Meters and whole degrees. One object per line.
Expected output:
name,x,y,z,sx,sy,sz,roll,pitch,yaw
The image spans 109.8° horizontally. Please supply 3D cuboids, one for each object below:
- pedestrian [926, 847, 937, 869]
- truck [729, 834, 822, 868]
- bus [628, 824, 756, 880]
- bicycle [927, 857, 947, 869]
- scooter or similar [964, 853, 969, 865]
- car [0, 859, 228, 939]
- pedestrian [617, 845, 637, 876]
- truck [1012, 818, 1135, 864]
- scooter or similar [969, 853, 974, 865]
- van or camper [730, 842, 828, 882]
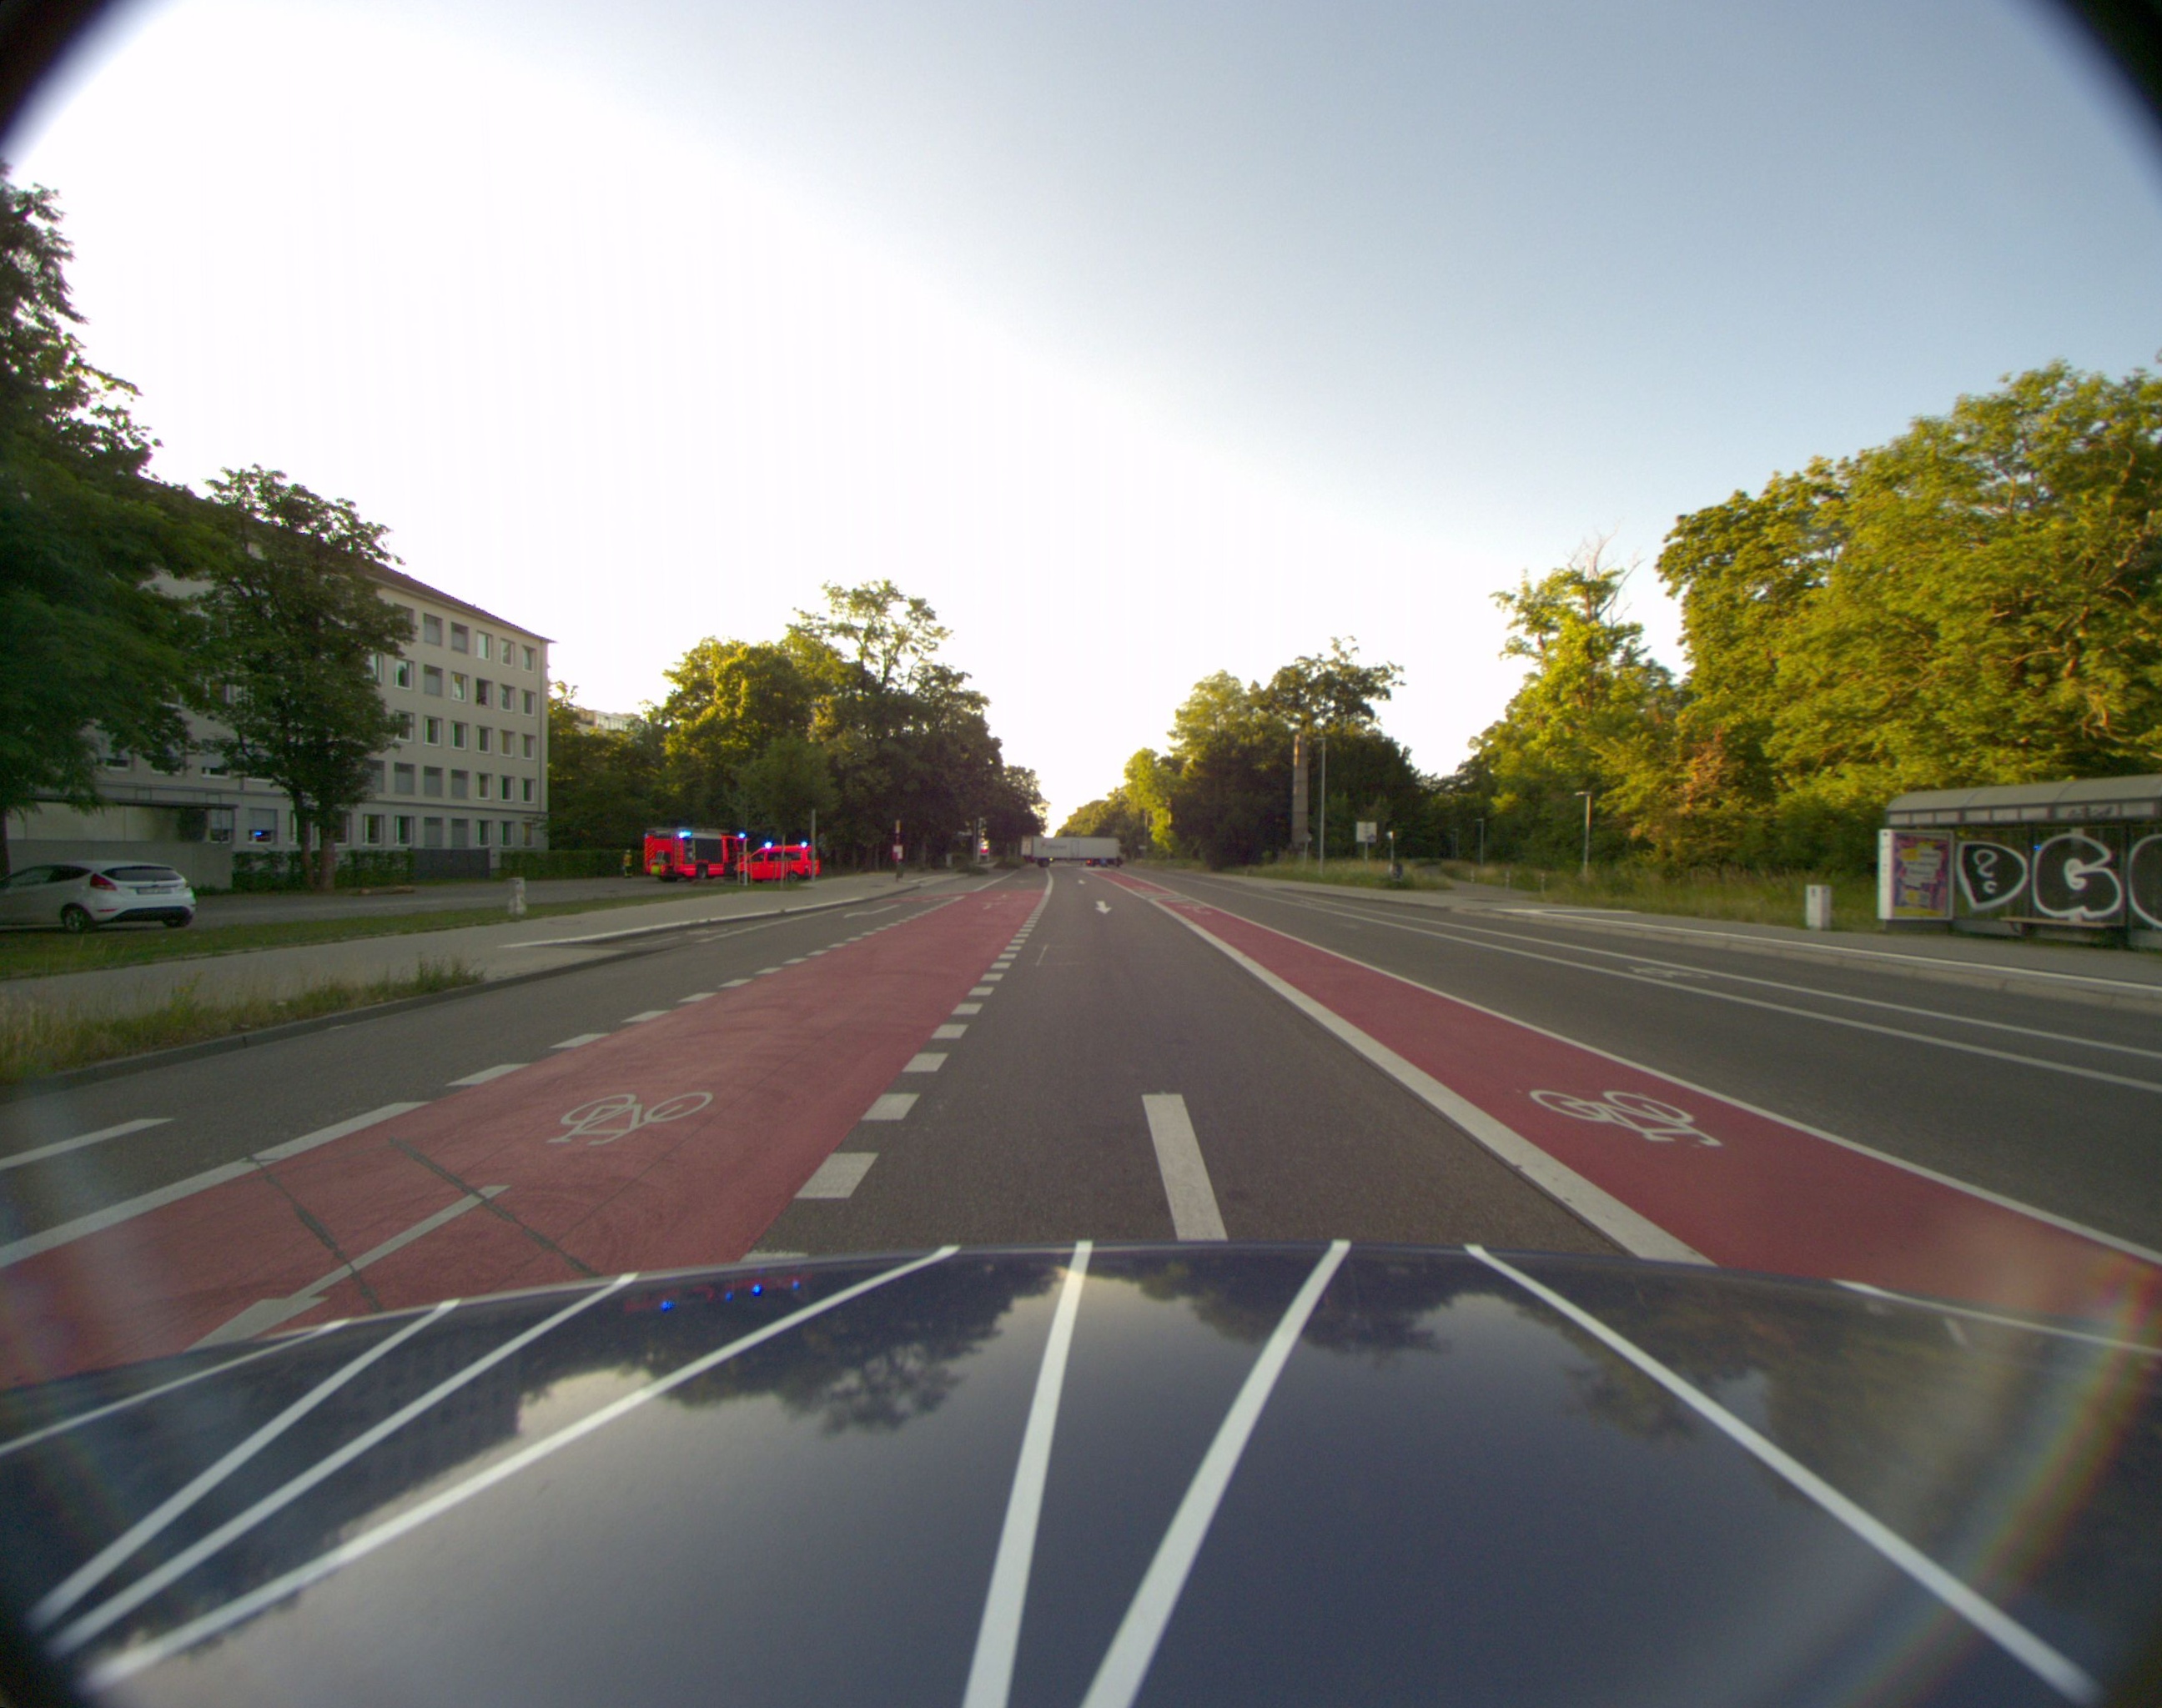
pedestrian,-13.620,0.332,69.076,0.727,2.002,0.693,-1,1,-38
truck,-29.828,-0.272,74.155,8.645,3.192,2.765,0,0,17
bus,-23.785,-0.140,47.085,2.993,3.177,7.968,-1,1,8
bicycle,-13.198,0.790,69.571,0.835,1.091,1.963,0,1,-42
scooter or similar,-12.208,0.574,81.200,0.483,1.274,1.230,2,0,-8
car,-20.966,0.907,16.009,3.996,1.528,1.912,-1,1,4
pedestrian,-29.601,0.389,49.536,0.772,2.002,0.826,0,1,9
truck,-0.774,-1.587,96.808,15.109,5.542,5.146,0,1,-30
scooter or similar,-11.961,0.575,83.157,0.483,1.274,1.139,2,0,-8
van or camper,-17.747,0.465,44.755,4.823,2.232,2.296,-1,1,7
